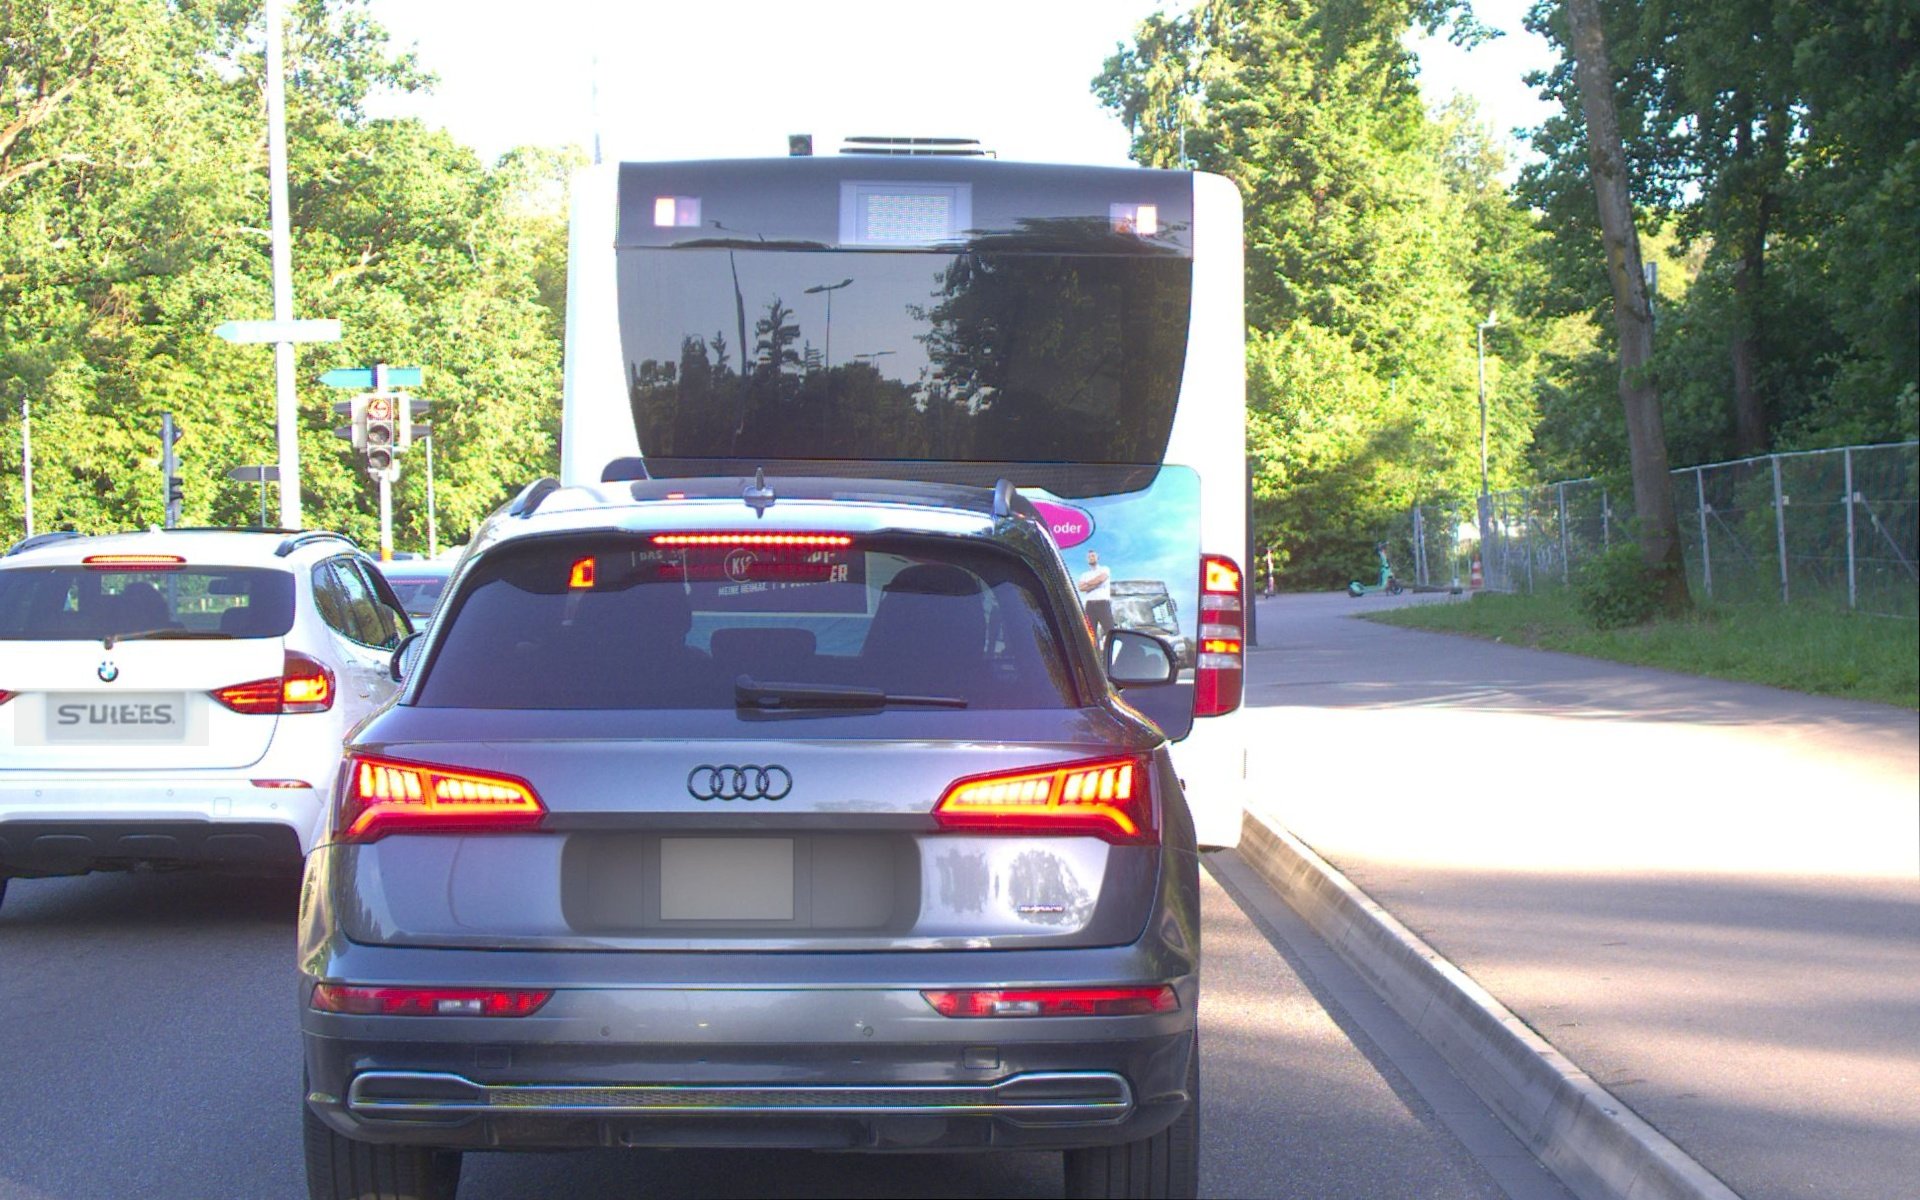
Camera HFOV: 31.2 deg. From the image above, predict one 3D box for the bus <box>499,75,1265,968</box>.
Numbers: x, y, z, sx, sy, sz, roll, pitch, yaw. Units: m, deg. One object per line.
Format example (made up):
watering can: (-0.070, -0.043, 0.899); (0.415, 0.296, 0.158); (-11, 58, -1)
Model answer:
bus: (-0.248, -0.356, 15.136); (2.678, 3.131, 5.882); (1, 2, 1)

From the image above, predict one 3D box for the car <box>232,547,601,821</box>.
car: (-3.221, 0.430, 21.118); (1.785, 1.439, 4.279); (1, 2, -3)

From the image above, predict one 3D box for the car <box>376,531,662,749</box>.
car: (-3.459, 0.259, 27.587); (1.808, 1.567, 4.000); (1, 2, -1)

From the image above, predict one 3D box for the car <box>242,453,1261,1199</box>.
car: (-0.411, 0.513, 8.365); (1.868, 1.658, 4.000); (1, 2, -1)

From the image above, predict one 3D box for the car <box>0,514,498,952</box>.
car: (-3.119, 0.469, 14.708); (1.718, 1.575, 4.434); (1, 0, -1)

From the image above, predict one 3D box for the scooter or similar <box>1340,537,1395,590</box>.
scooter or similar: (9.244, -0.838, 77.979); (1.184, 1.170, 0.659); (1, 1, 11)
